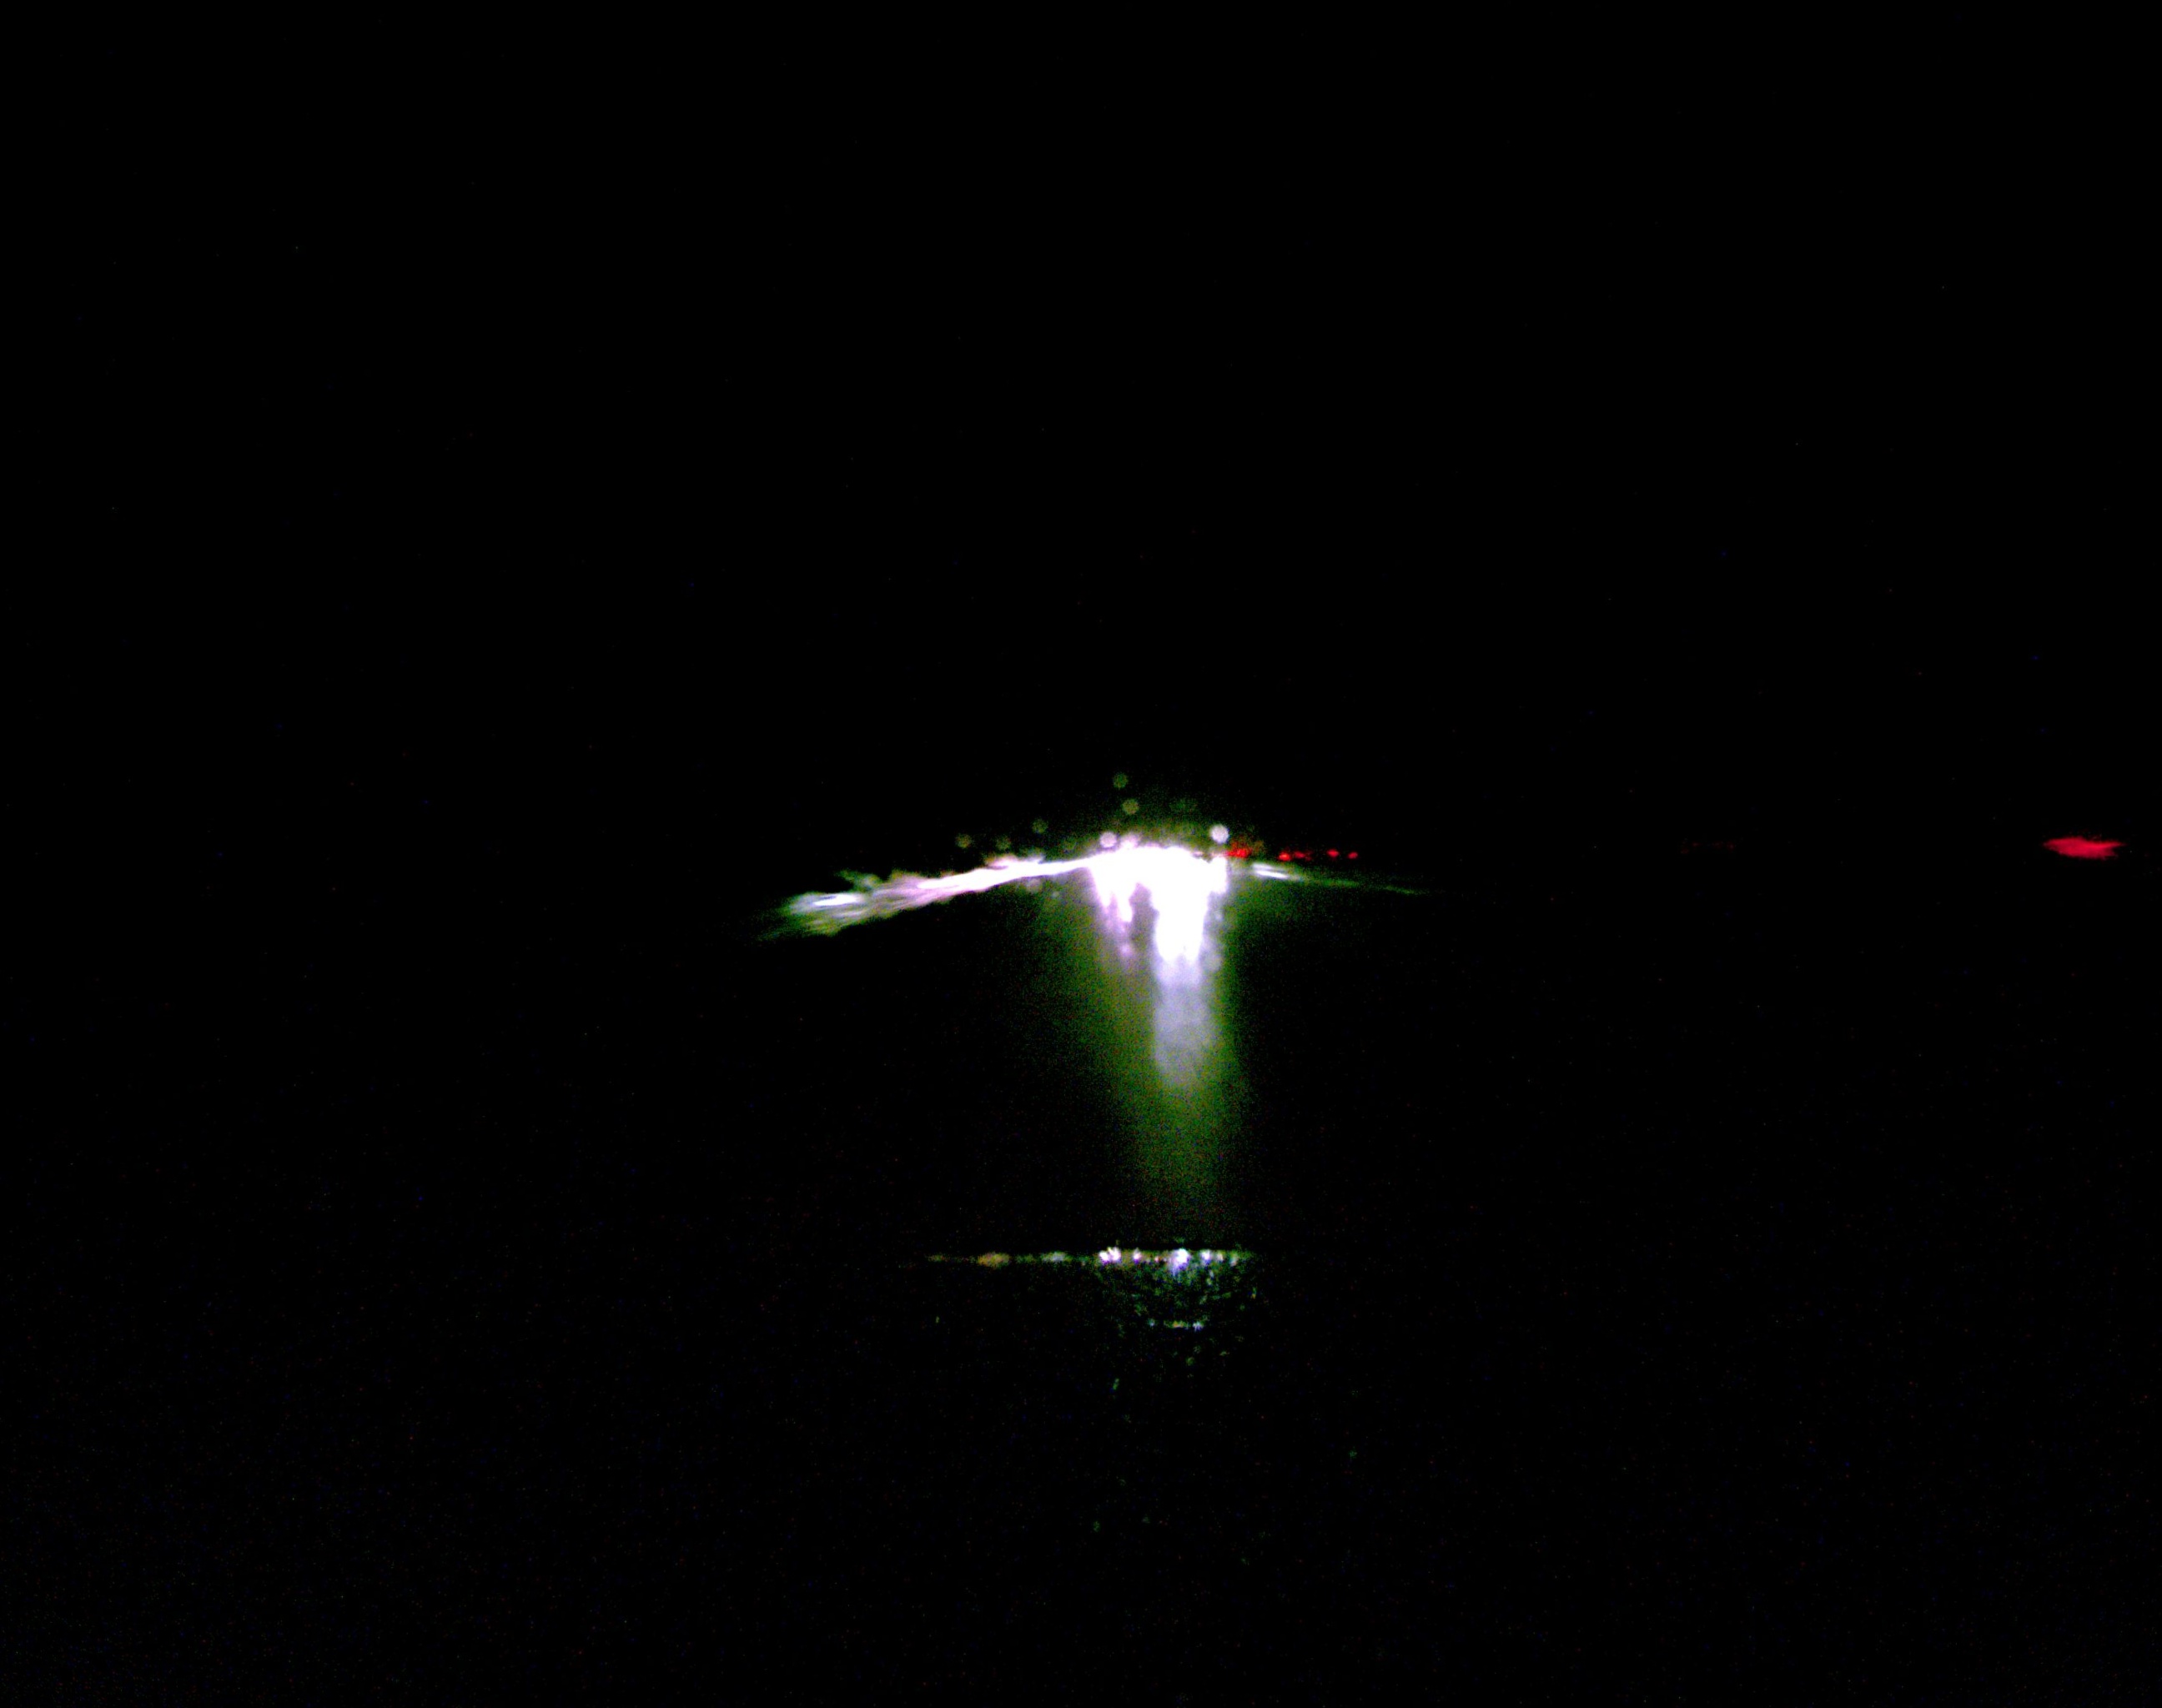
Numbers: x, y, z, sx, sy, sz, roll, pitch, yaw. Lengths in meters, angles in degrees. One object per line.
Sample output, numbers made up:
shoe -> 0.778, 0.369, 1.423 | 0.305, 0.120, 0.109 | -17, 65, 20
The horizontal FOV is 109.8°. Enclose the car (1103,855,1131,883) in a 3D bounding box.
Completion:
car -> 2.814, 1.115, 59.067 | 1.998, 2.002, 4.001 | -3, 0, 3

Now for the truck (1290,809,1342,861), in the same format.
truck -> 29.068, -2.292, 94.311 | 4.177, 6.092, 7.345 | -3, 1, 3

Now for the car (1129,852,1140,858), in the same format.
car -> 11.576, 0.255, 163.734 | 1.997, 1.149, 4.002 | -3, 0, 8

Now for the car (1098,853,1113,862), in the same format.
car -> 3.783, 0.544, 118.189 | 1.997, 1.149, 4.002 | -3, 0, 6

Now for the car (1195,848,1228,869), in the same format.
car -> 10.839, 0.351, 63.331 | 2.309, 1.600, 3.872 | -3, 0, 5

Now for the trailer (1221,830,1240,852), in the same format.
trailer -> 44.545, -3.851, 226.650 | 3.470, 6.092, 14.412 | -6, 0, 5

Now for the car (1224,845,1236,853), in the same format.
car -> 33.361, -1.047, 170.407 | 1.998, 1.633, 4.254 | -3, 0, 2

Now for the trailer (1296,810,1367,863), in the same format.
trailer -> 28.830, -1.909, 88.456 | 4.177, 5.413, 13.748 | -3, 0, 3

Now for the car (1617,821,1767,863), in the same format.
car -> 20.969, -0.391, 26.333 | 1.711, 1.214, 4.272 | -4, 0, 0

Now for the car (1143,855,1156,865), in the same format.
car -> 9.691, 0.842, 107.238 | 1.692, 1.149, 3.422 | -3, 0, 6

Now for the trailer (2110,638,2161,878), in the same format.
trailer -> 25.294, -2.276, 12.404 | 4.350, 5.111, 8.996 | -6, 0, 0

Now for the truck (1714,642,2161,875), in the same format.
truck -> 25.323, -2.291, 22.266 | 4.350, 5.111, 10.472 | -6, 0, 0

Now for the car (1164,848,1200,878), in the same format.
car -> 6.177, 0.518, 46.851 | 1.998, 1.667, 4.001 | -3, 0, 5

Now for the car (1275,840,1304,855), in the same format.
car -> 22.088, -0.676, 80.622 | 1.711, 1.472, 5.017 | -4, 0, 2

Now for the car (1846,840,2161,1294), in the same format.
car -> 4.792, 0.756, 1.692 | 1.920, 1.585, 4.233 | -2, 0, 1
